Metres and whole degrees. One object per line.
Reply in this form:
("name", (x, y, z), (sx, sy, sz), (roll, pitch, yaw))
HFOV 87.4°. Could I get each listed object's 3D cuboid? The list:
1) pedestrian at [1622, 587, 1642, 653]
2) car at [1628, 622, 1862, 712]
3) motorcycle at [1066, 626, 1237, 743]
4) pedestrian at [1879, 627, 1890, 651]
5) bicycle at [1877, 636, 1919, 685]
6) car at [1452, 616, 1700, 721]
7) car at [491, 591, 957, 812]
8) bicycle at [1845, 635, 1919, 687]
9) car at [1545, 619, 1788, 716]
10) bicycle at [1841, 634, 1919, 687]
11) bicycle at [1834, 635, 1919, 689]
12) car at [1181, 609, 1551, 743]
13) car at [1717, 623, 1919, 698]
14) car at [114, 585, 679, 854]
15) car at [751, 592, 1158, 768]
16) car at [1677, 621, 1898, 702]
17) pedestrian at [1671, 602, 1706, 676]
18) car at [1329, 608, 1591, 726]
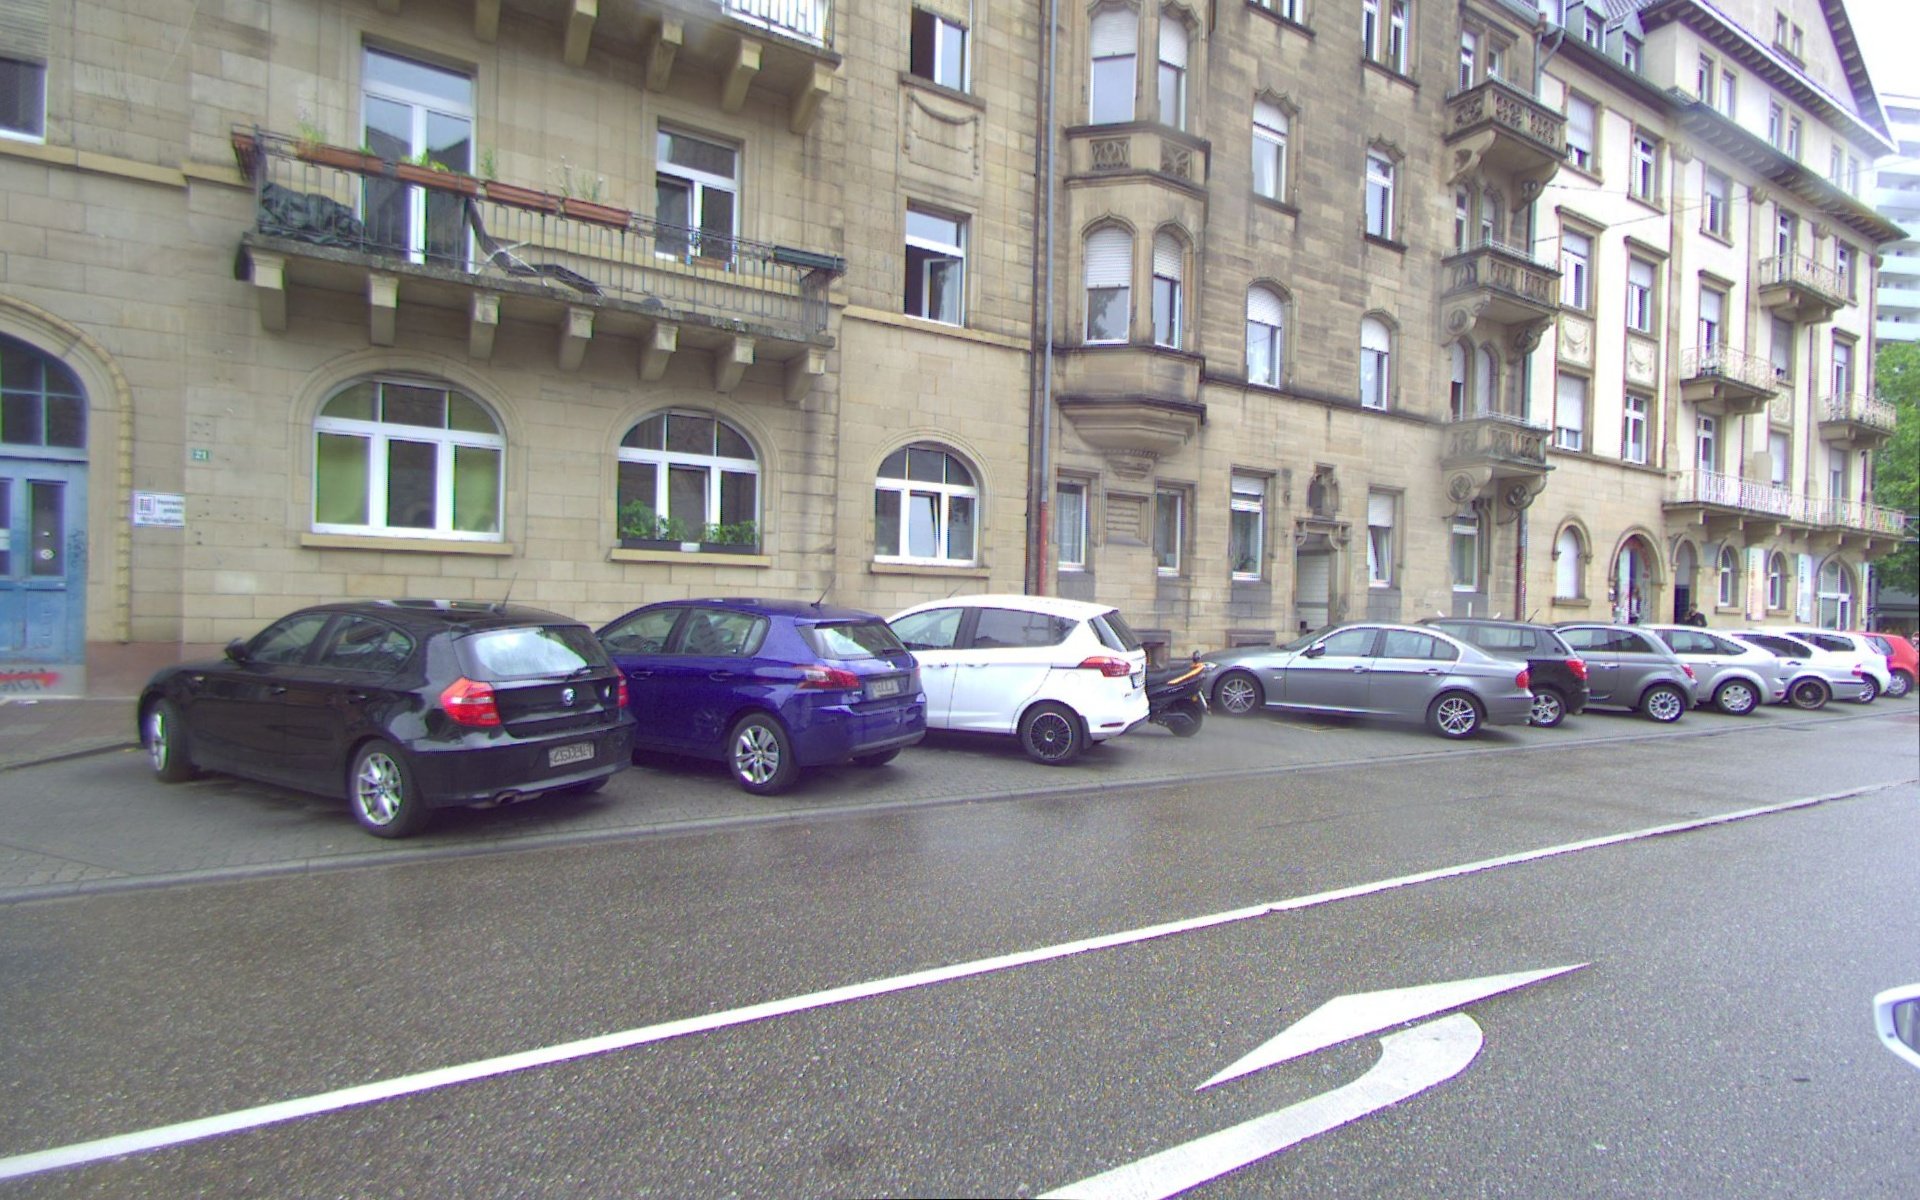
("pedestrian", (19.083, 0.578, 28.527), (0.343, 1.846, 0.364), (2, -1, -32))
("car", (15.669, 1.289, 20.261), (3.337, 1.578, 1.705), (1, 0, 21))
("motorcycle", (2.260, 0.963, 11.871), (1.837, 1.177, 0.633), (3, 1, 23))
("pedestrian", (61.507, 2.581, 66.841), (0.638, 1.550, 0.438), (1, 0, -39))
("bicycle", (26.127, 1.657, 27.256), (0.601, 1.283, 1.754), (1, -1, -31))
("car", (10.362, 1.102, 17.181), (3.337, 1.578, 1.652), (1, 0, 21))
("car", (-2.197, 0.747, 9.098), (3.972, 1.594, 1.795), (1, -1, 31))
("bicycle", (24.468, 1.583, 26.364), (0.492, 1.283, 1.801), (1, -1, -31))
("car", (12.961, 1.190, 18.661), (3.337, 1.578, 1.705), (1, 0, 21))
("bicycle", (23.952, 1.558, 25.904), (0.492, 1.283, 1.801), (1, -1, -31))
("bicycle", (23.497, 1.554, 25.611), (0.516, 1.283, 1.754), (1, -1, -31))
("car", (5.409, 0.958, 13.877), (4.457, 1.565, 1.689), (1, -1, 17))
("car", (20.216, 1.375, 23.725), (3.337, 1.578, 1.705), (1, 0, 21))
("car", (-4.237, 0.689, 7.483), (3.970, 1.532, 1.796), (1, -1, 28))
("car", (-0.021, 0.748, 10.746), (3.964, 1.576, 1.799), (1, -1, 20))
("car", (17.947, 1.284, 21.976), (3.337, 1.578, 1.705), (1, 0, 21))
("pedestrian", (20.480, 1.095, 28.249), (0.647, 2.040, 0.565), (1, 0, -30))
("car", (7.668, 0.979, 15.752), (3.484, 1.619, 1.605), (1, 0, 21))
